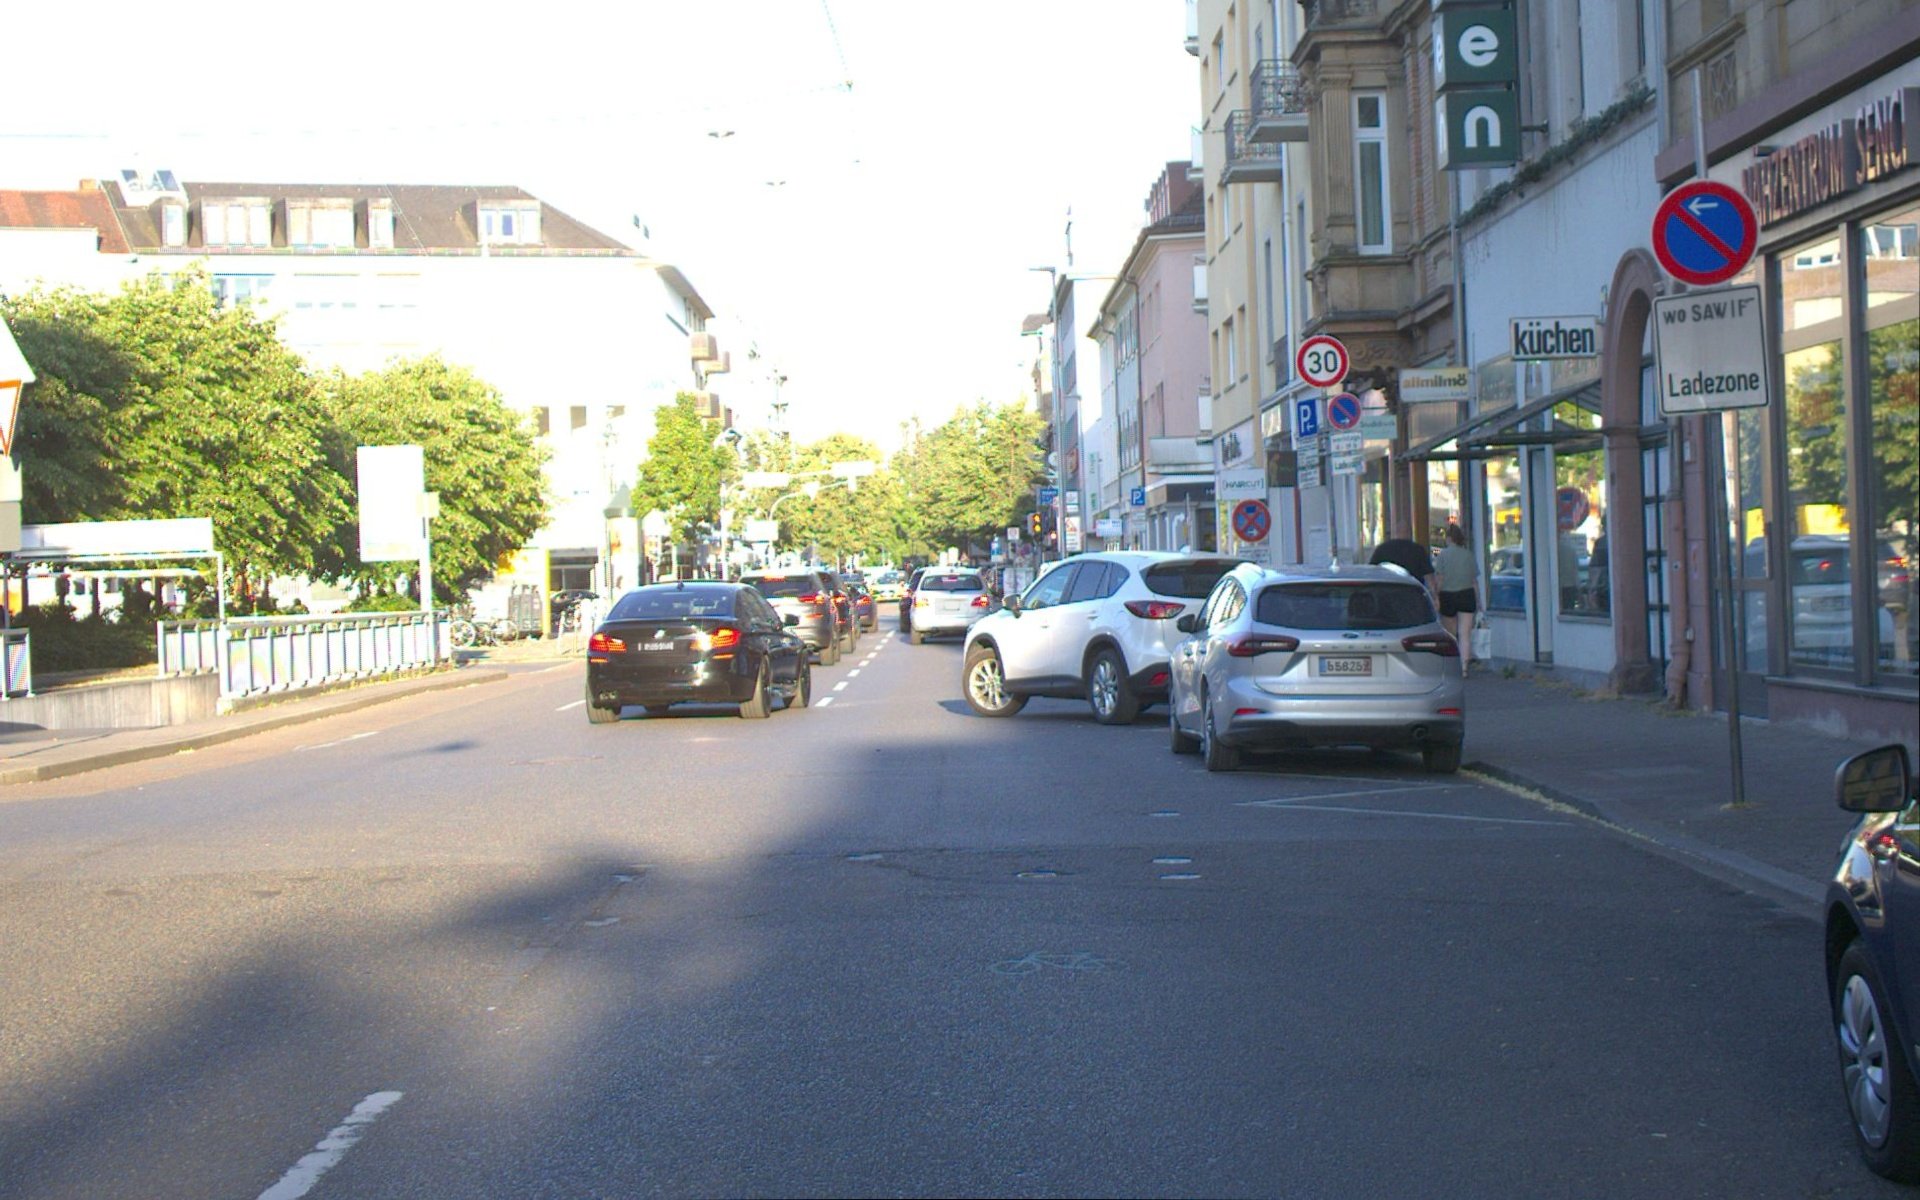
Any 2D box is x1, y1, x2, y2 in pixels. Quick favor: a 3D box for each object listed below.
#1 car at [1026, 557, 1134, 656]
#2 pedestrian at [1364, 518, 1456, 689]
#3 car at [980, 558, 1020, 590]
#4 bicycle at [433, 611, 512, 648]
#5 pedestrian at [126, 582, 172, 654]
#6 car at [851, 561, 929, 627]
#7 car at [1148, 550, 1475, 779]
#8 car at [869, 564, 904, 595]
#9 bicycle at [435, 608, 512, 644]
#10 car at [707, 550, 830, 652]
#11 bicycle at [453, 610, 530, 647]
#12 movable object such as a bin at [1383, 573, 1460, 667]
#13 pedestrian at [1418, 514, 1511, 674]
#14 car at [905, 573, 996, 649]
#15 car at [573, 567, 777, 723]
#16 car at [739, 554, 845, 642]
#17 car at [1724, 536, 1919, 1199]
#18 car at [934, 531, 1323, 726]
[{"bbox_3d":[2.044,0.115,59.496,1.730,1.645,4.284,0,0,0],"label":"car"},{"bbox_3d":[4.980,0.035,38.071,0.772,1.821,1.011,-3,1,-1],"label":"pedestrian"},{"bbox_3d":[2.059,-1.365,178.086,1.896,1.576,3.852,-2,1,-1],"label":"car"},{"bbox_3d":[-11.653,0.708,82.177,1.825,0.850,0.484,1,0,-4],"label":"bicycle"},{"bbox_3d":[-18.233,0.399,77.257,0.791,1.589,0.567,-1,0,19],"label":"pedestrian"},{"bbox_3d":[-1.756,-0.166,87.182,1.896,1.576,3.852,-2,1,-1],"label":"car"},{"bbox_3d":[2.494,0.437,25.499,1.759,1.531,4.822,0,0,-2],"label":"car"},{"bbox_3d":[-3.891,-1.100,182.150,1.779,1.542,4.000,-1,1,-1],"label":"car"},{"bbox_3d":[-12.002,0.643,84.874,1.825,0.850,0.484,1,0,-4],"label":"bicycle"},{"bbox_3d":[-3.254,0.006,59.051,1.896,1.644,4.104,-1,0,-1],"label":"car"},{"bbox_3d":[-11.439,0.696,83.980,1.825,0.850,0.484,1,0,-4],"label":"bicycle"},{"bbox_3d":[5.543,0.235,41.314,0.774,1.066,0.618,-4,0,0],"label":"movable object such as a bin"},{"bbox_3d":[5.606,-0.071,38.221,0.772,1.705,1.042,-3,1,-1],"label":"pedestrian"},{"bbox_3d":[-0.227,0.218,73.801,1.896,1.576,4.000,0,0,-1],"label":"car"},{"bbox_3d":[-3.003,0.442,36.910,1.896,1.576,4.000,0,0,-1],"label":"car"},{"bbox_3d":[-3.256,-0.054,67.374,1.896,1.644,4.104,-1,0,-1],"label":"car"},{"bbox_3d":[2.912,0.588,6.990,1.759,1.531,4.000,-5,1,1],"label":"car"},{"bbox_3d":[1.587,0.273,34.296,1.993,1.755,4.466,-2,1,-24],"label":"car"}]
